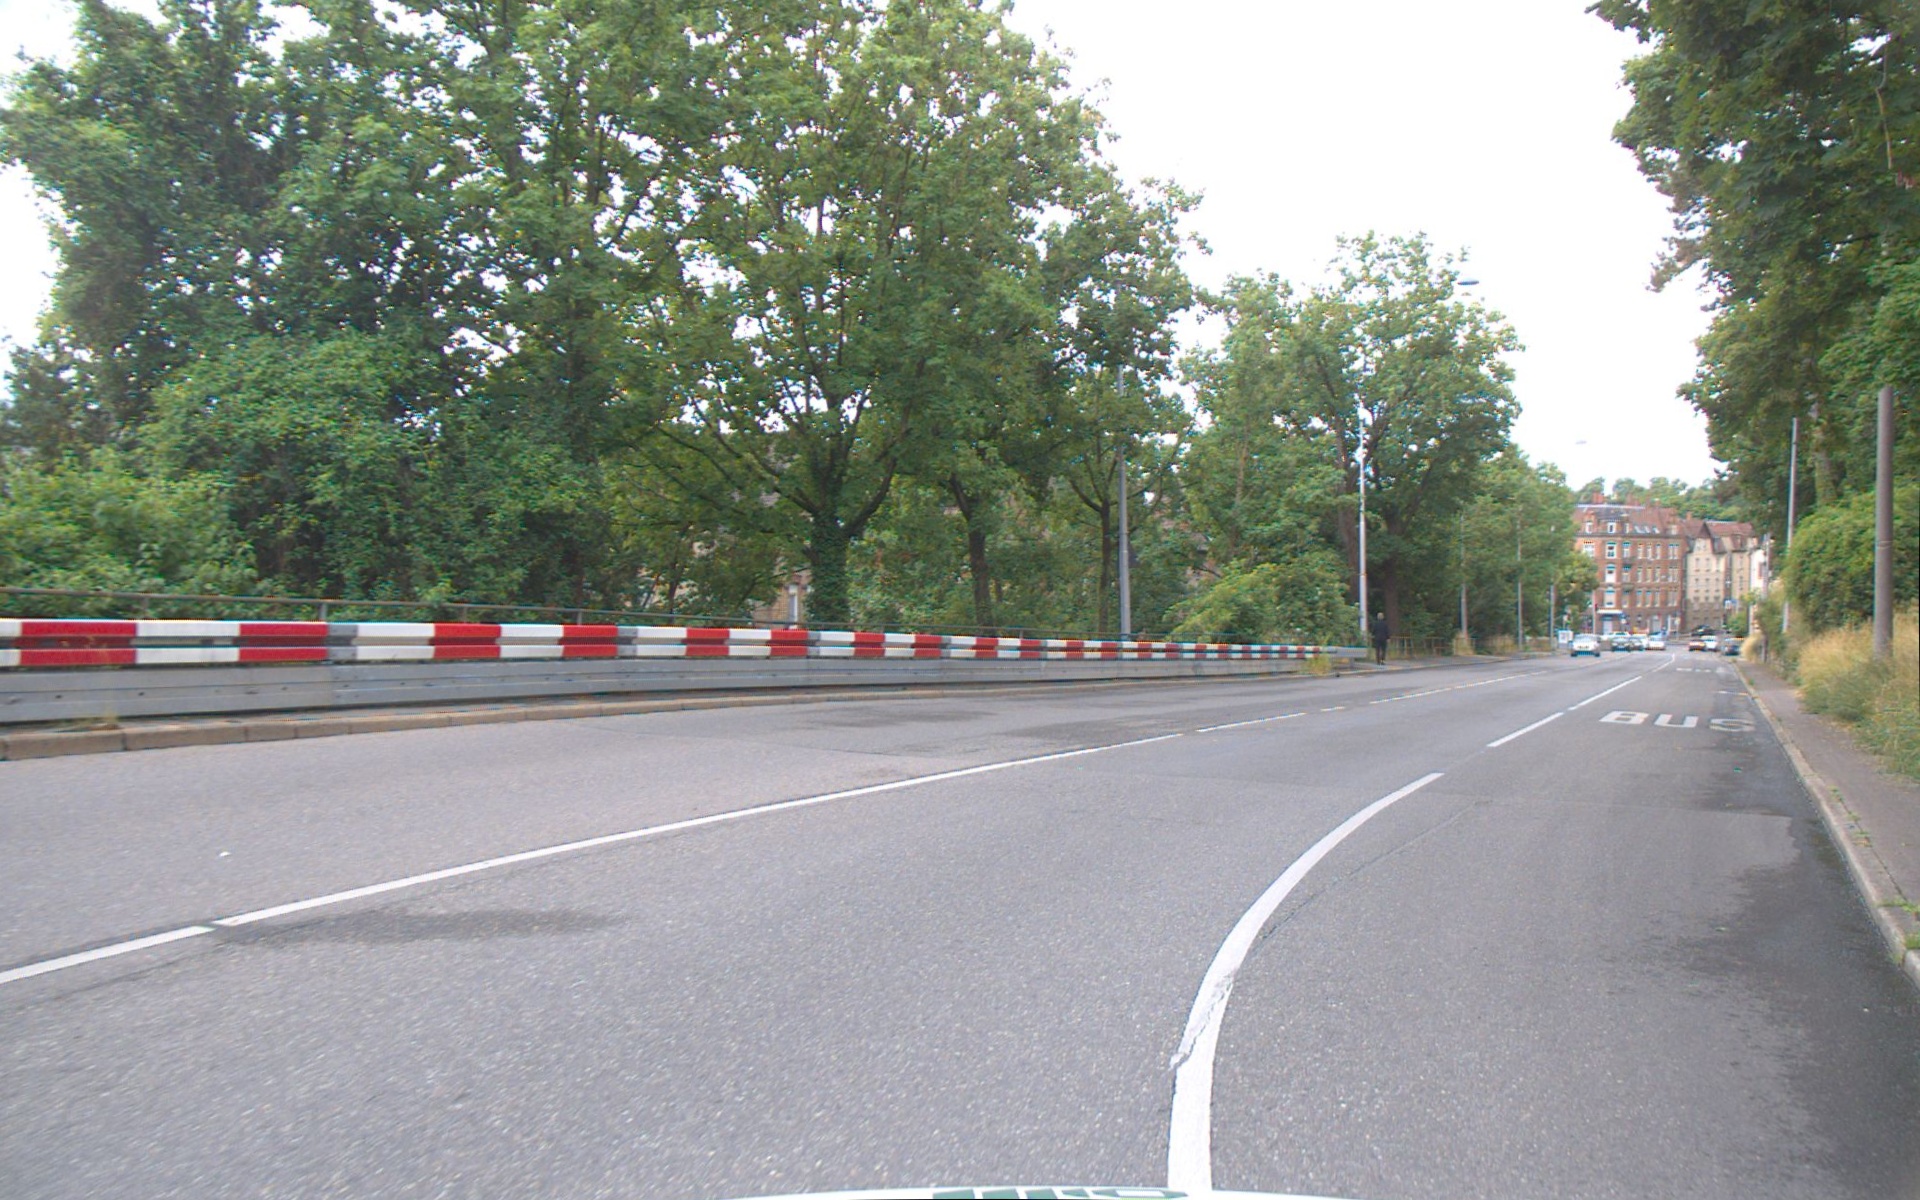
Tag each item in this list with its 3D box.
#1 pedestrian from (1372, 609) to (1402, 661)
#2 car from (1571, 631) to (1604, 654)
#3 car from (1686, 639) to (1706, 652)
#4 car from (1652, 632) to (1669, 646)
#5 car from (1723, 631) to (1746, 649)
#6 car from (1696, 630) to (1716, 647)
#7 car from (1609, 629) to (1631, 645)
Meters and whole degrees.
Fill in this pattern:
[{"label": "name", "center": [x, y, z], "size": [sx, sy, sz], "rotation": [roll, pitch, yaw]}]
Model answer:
[{"label": "pedestrian", "center": [15.441, 1.267, 59.764], "size": [0.773, 1.805, 1.208], "rotation": [4, 0, 23]}, {"label": "car", "center": [42.004, 2.834, 110.693], "size": [1.759, 1.452, 4.140], "rotation": [0, -1, 25]}, {"label": "car", "center": [86.888, 5.384, 195.289], "size": [1.783, 1.455, 3.992], "rotation": [2, 0, 29]}, {"label": "car", "center": [84.197, 4.730, 198.672], "size": [1.748, 1.602, 4.278], "rotation": [0, -2, 24]}, {"label": "car", "center": [66.793, 3.470, 142.680], "size": [1.648, 1.477, 3.996], "rotation": [-3, -3, 25]}, {"label": "car", "center": [92.269, 4.732, 204.544], "size": [1.874, 1.917, 3.992], "rotation": [2, -1, 29]}, {"label": "car", "center": [60.108, 3.401, 150.695], "size": [1.636, 1.473, 3.685], "rotation": [0, -2, 26]}]
